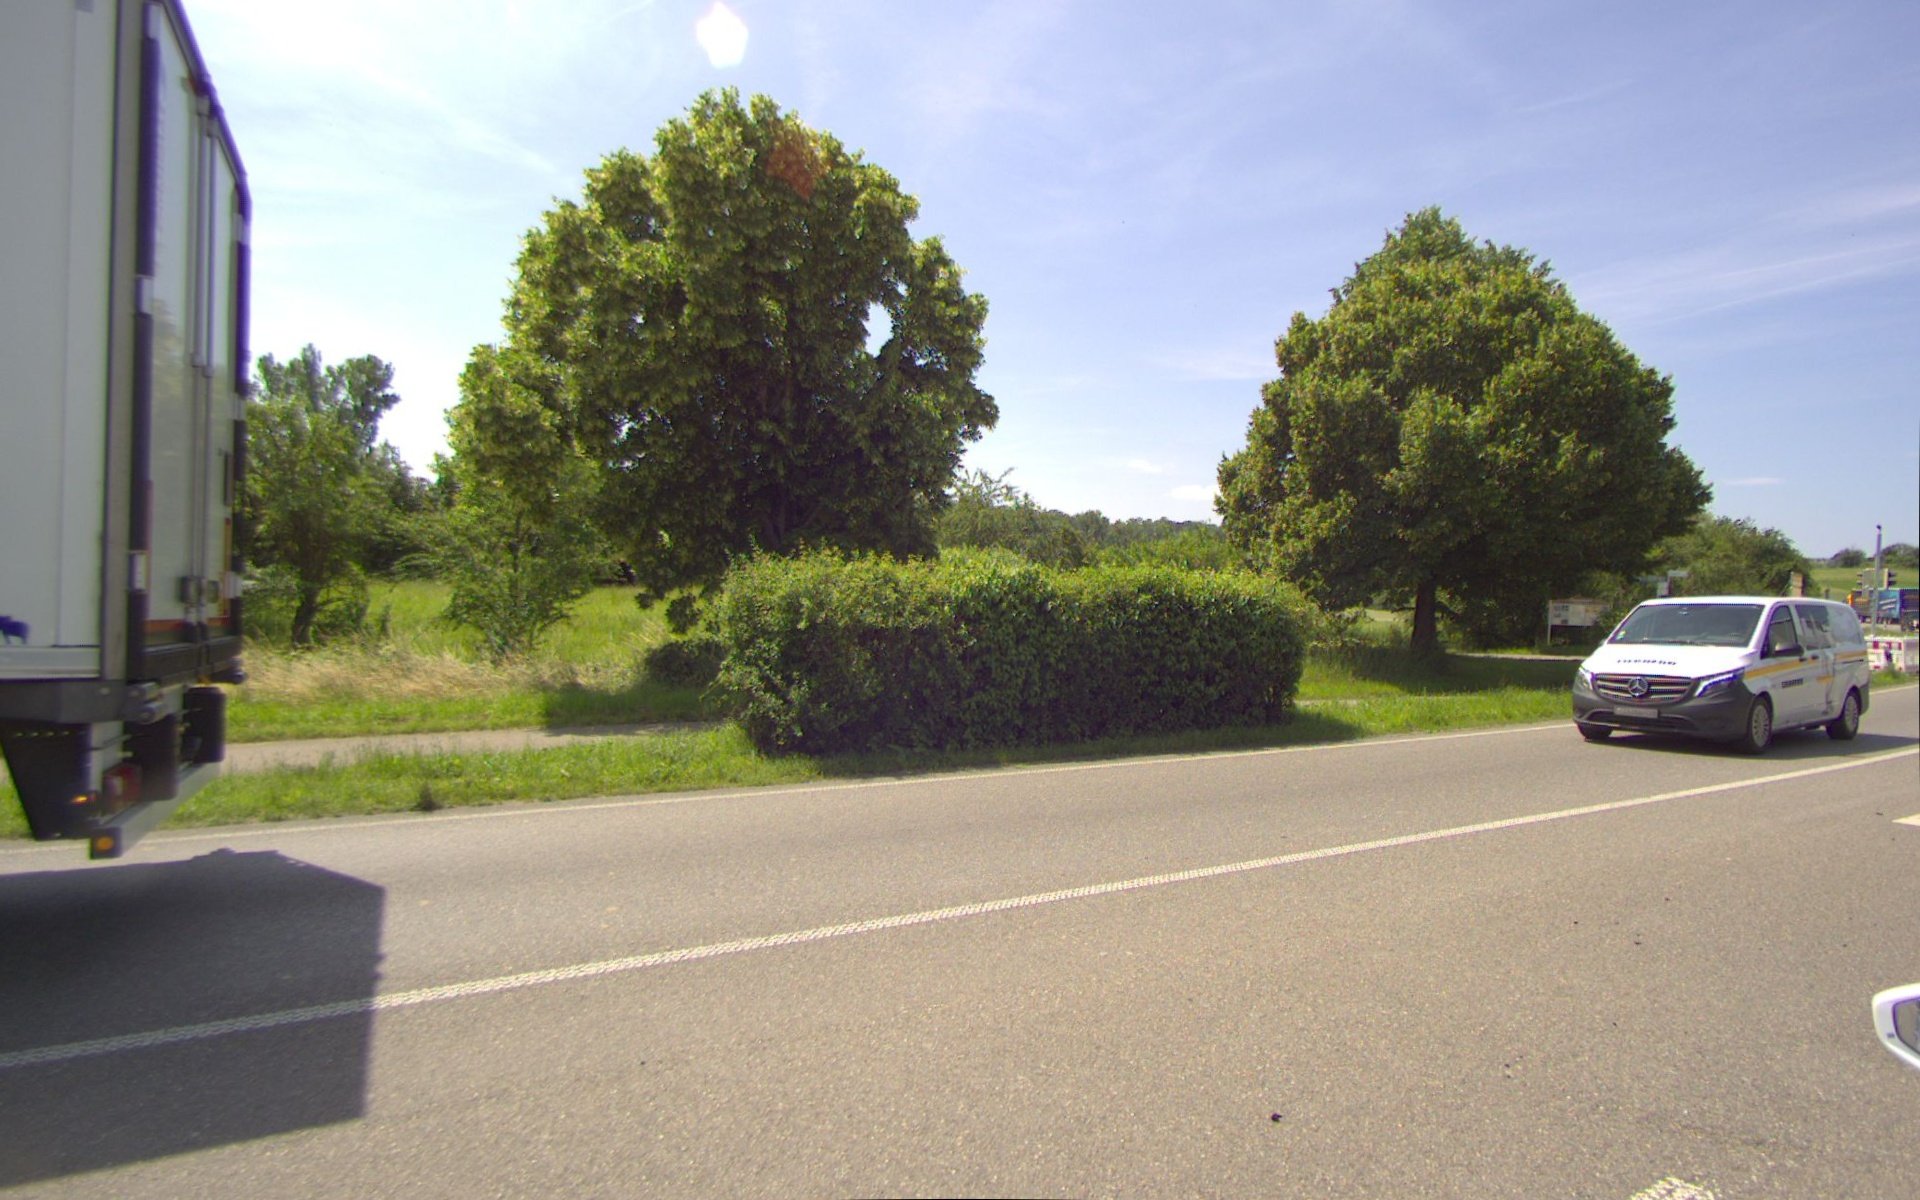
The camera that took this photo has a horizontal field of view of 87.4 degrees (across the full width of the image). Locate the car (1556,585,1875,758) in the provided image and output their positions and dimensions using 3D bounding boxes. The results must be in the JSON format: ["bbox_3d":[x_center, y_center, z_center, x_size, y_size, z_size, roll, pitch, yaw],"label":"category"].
[{"bbox_3d":[10.038,0.821,13.203,5.089,1.890,1.861,1,-1,-35],"label":"car"}]

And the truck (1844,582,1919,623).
[{"bbox_3d":[107.923,0.413,117.217,3.474,4.296,13.394,2,-1,25],"label":"truck"}]

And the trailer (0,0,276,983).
[{"bbox_3d":[-8.698,-0.823,2.245,11.521,4.156,2.765,2,-1,-30],"label":"trailer"}]
